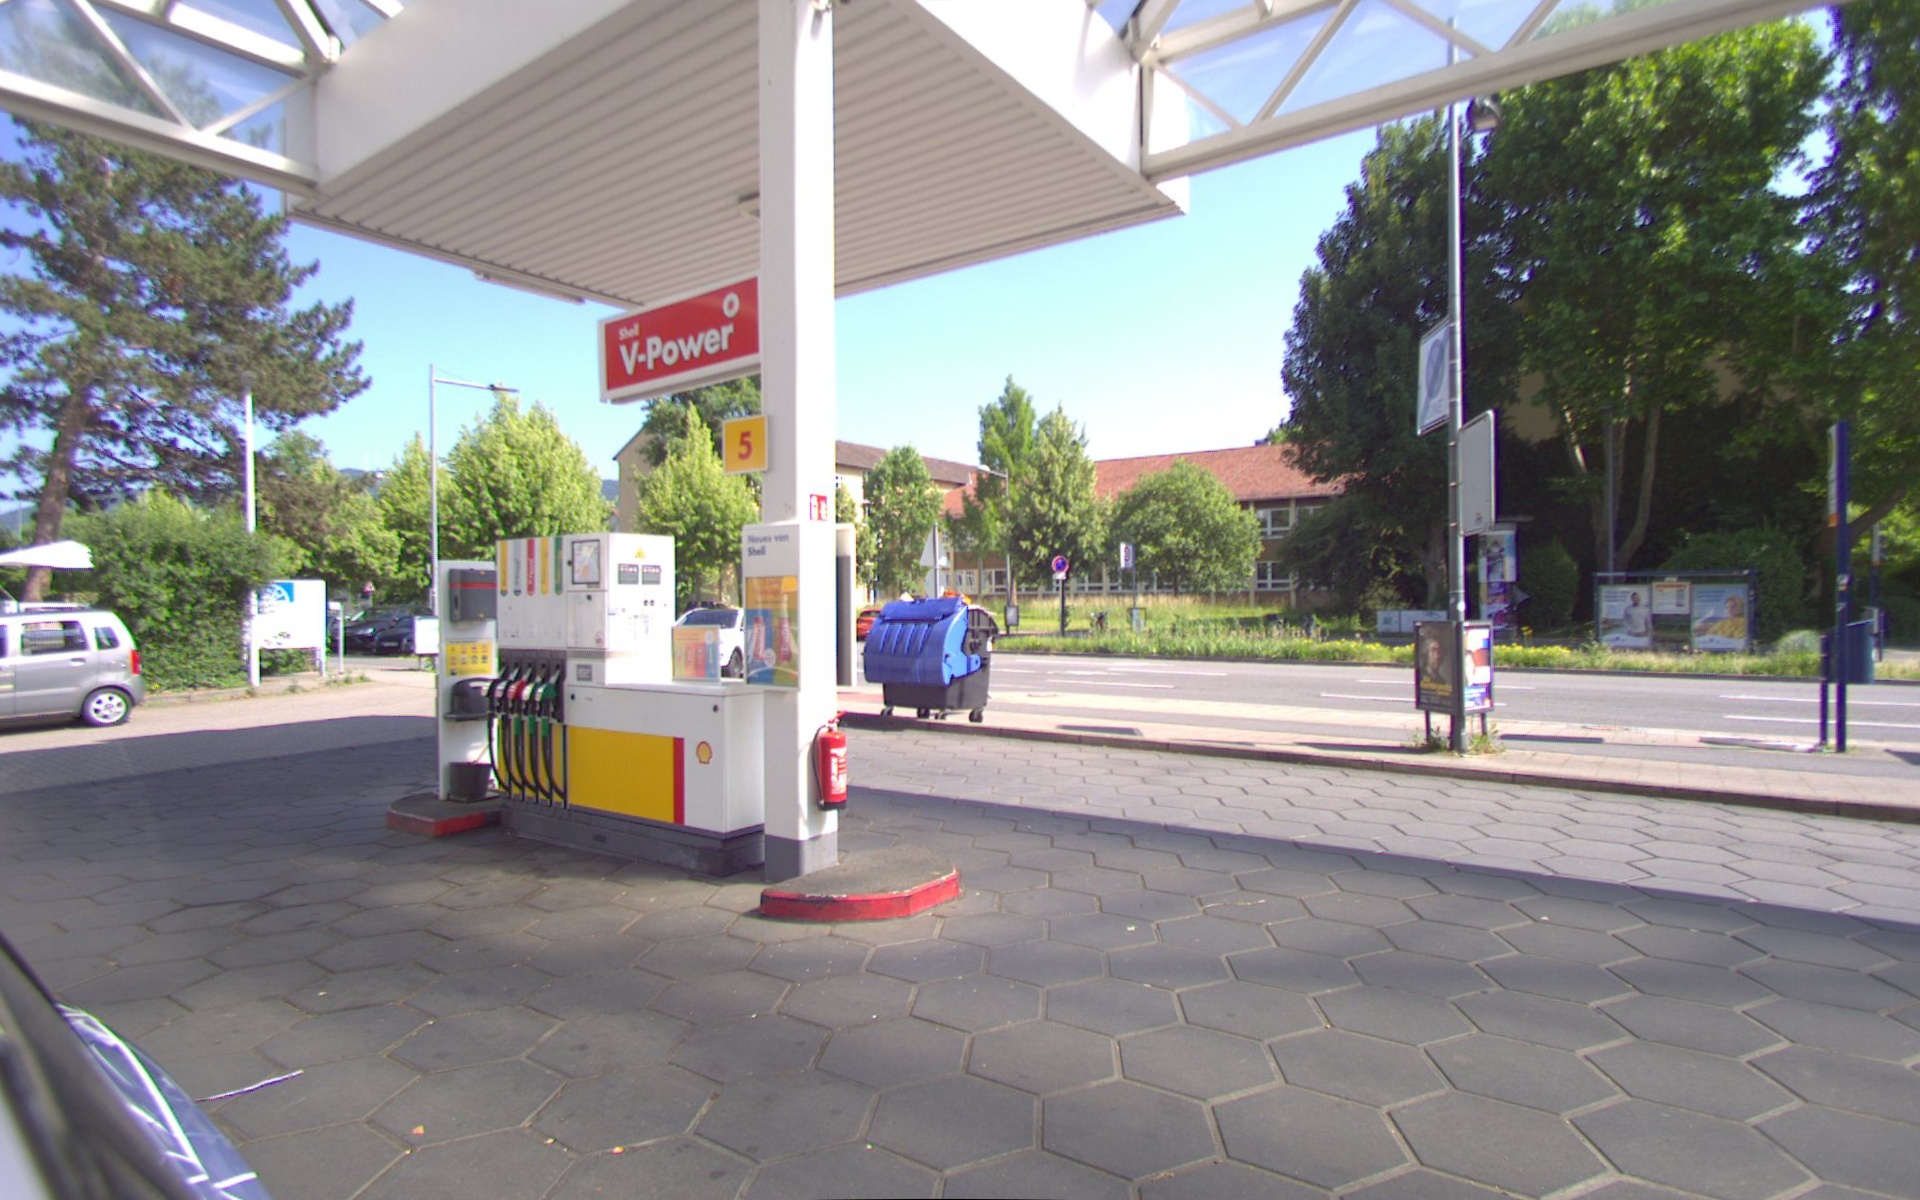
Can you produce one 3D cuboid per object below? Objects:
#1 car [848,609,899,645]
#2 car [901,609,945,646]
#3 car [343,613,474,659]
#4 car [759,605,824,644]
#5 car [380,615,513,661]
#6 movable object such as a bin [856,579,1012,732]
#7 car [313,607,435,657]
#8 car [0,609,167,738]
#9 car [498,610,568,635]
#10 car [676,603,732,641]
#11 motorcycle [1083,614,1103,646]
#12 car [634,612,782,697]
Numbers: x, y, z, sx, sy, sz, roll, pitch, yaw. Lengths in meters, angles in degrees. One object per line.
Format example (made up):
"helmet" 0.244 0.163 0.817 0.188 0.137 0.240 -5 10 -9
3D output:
"car" -3.771 1.189 44.580 1.855 1.471 4.225 1 -1 0
"car" -1.515 1.177 42.879 1.717 1.471 4.225 0 -2 0
"car" -19.243 1.243 35.549 1.860 1.493 4.213 0 -1 9
"car" -7.844 1.160 47.430 1.859 1.735 4.217 1 -1 7
"car" -17.083 1.256 33.926 1.860 1.428 4.213 0 -2 9
"movable object such as a bin" -0.303 0.647 12.230 1.335 1.701 1.326 -1 -3 37
"car" -21.325 1.137 37.043 1.683 1.733 4.398 0 -1 4
"car" -13.222 0.995 13.684 1.690 1.629 3.616 -1 1 38
"car" -25.403 1.352 60.324 1.866 1.401 3.705 0 -2 18
"car" -12.479 1.105 49.531 1.854 1.735 4.228 1 -2 -3
"motorcycle" 4.954 1.097 37.629 0.552 1.122 1.752 -1 0 12
"car" -5.618 1.162 23.192 1.938 1.719 4.299 -1 -1 6
